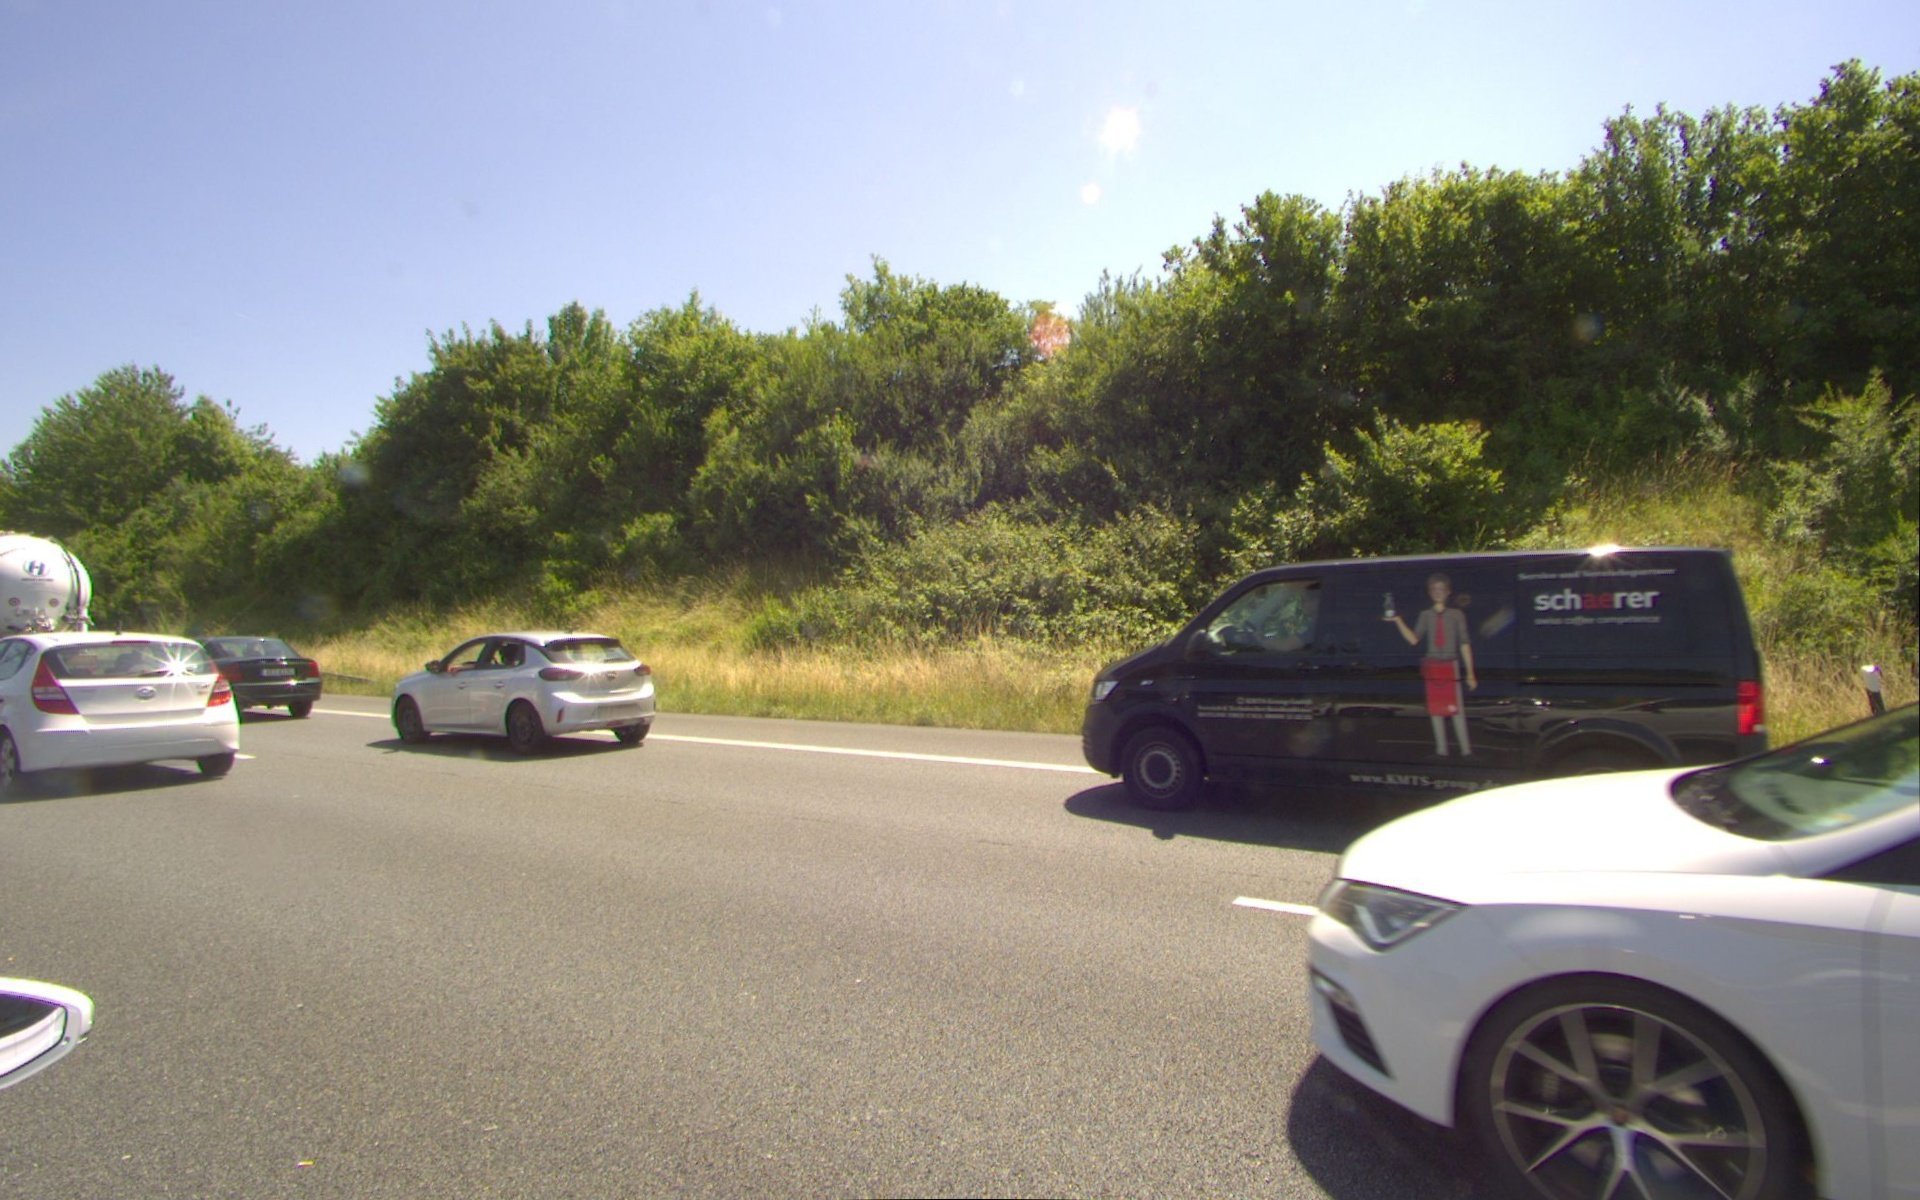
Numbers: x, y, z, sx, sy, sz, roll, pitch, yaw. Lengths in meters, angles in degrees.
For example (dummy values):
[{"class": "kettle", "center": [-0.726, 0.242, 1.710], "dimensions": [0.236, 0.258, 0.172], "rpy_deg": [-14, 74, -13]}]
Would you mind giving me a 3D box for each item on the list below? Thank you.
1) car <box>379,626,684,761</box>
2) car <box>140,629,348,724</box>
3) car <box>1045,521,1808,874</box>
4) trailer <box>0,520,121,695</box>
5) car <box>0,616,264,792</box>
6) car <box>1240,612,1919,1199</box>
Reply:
[{"class": "car", "center": [-5.629, 1.095, 13.027], "dimensions": [3.971, 1.462, 1.727], "rpy_deg": [0, 0, 33]}, {"class": "car", "center": [-12.537, 1.282, 17.482], "dimensions": [3.934, 1.435, 1.637], "rpy_deg": [-2, 0, 34]}, {"class": "car", "center": [3.225, 0.624, 7.712], "dimensions": [4.790, 1.965, 1.909], "rpy_deg": [-2, -1, 34]}, {"class": "trailer", "center": [-25.752, 0.266, 26.024], "dimensions": [11.323, 3.895, 2.755], "rpy_deg": [-1, -1, 32]}, {"class": "car", "center": [-9.197, 0.970, 10.504], "dimensions": [3.946, 1.504, 1.812], "rpy_deg": [-2, -1, 34]}, {"class": "car", "center": [3.020, 0.748, 2.290], "dimensions": [4.254, 1.462, 1.743], "rpy_deg": [-2, -1, 34]}]
